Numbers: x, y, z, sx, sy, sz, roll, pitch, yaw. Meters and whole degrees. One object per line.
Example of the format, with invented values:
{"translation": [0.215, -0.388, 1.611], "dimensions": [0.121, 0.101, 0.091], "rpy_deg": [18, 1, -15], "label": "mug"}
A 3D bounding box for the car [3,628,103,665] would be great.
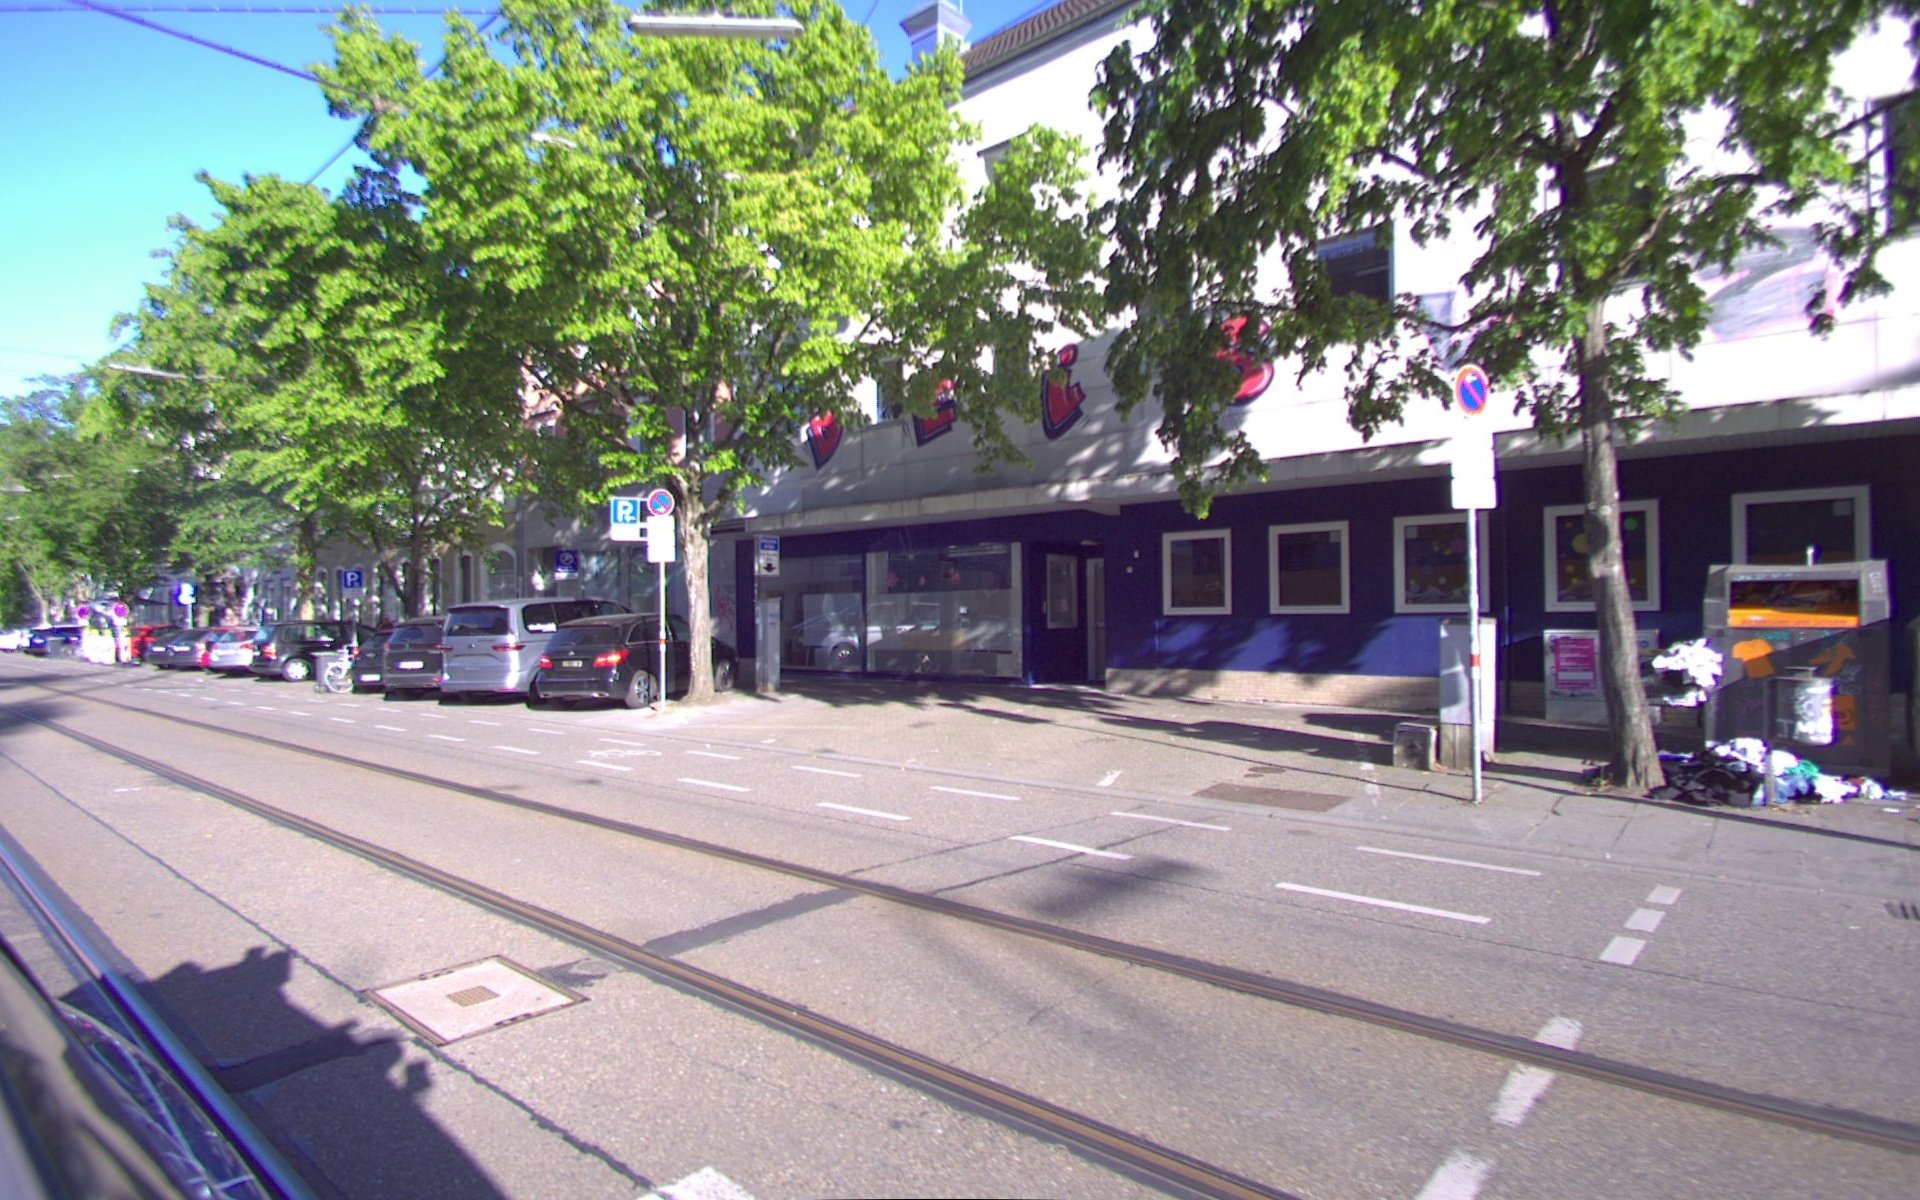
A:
{"translation": [-56.797, 2.868, 63.422], "dimensions": [2.161, 2.134, 4.393], "rpy_deg": [-2, -1, 38], "label": "car"}

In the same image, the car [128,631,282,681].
{"translation": [-27.031, 1.956, 36.418], "dimensions": [1.925, 1.502, 4.184], "rpy_deg": [-2, 0, 14], "label": "car"}

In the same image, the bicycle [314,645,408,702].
{"translation": [-13.852, 1.685, 23.476], "dimensions": [0.489, 1.153, 1.957], "rpy_deg": [-1, 0, 23], "label": "bicycle"}

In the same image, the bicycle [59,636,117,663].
{"translation": [-41.551, 2.336, 48.225], "dimensions": [0.567, 1.095, 1.981], "rpy_deg": [-2, 2, 43], "label": "bicycle"}

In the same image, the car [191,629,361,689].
{"translation": [-20.715, 1.744, 30.867], "dimensions": [1.823, 1.524, 4.098], "rpy_deg": [-2, 0, 14], "label": "car"}

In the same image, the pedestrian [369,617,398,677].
{"translation": [-19.924, 1.608, 34.976], "dimensions": [0.556, 2.029, 0.723], "rpy_deg": [-2, -2, 42], "label": "pedestrian"}

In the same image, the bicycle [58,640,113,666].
{"translation": [-42.483, 2.551, 49.166], "dimensions": [0.568, 1.087, 1.946], "rpy_deg": [-2, 1, 43], "label": "bicycle"}

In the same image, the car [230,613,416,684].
{"translation": [-18.037, 1.309, 28.792], "dimensions": [1.839, 1.690, 4.065], "rpy_deg": [-2, 1, 38], "label": "car"}

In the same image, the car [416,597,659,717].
{"translation": [-8.000, 0.989, 19.660], "dimensions": [1.934, 2.001, 4.341], "rpy_deg": [-2, 0, 19], "label": "car"}

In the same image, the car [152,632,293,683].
{"translation": [-25.145, 1.923, 34.644], "dimensions": [1.735, 1.481, 3.670], "rpy_deg": [-1, 0, 12], "label": "car"}

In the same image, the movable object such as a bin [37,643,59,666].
{"translation": [-44.797, 2.668, 49.720], "dimensions": [0.710, 1.086, 0.676], "rpy_deg": [-2, 1, 42], "label": "movable object such as a bin"}

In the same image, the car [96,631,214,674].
{"translation": [-34.055, 2.207, 42.921], "dimensions": [1.653, 1.565, 3.608], "rpy_deg": [-3, 0, 15], "label": "car"}

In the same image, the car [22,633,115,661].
{"translation": [-51.816, 2.730, 58.870], "dimensions": [1.873, 1.541, 3.622], "rpy_deg": [-1, -2, 21], "label": "car"}

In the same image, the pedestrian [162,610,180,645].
{"translation": [-41.644, 1.453, 53.414], "dimensions": [0.624, 1.852, 0.636], "rpy_deg": [-2, -3, 42], "label": "pedestrian"}

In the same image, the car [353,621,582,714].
{"translation": [-9.951, 1.305, 20.841], "dimensions": [1.797, 1.698, 4.220], "rpy_deg": [-1, -2, 20], "label": "car"}

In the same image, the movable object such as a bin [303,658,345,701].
{"translation": [-14.573, 1.823, 23.203], "dimensions": [0.572, 0.920, 0.572], "rpy_deg": [-3, 0, 25], "label": "movable object such as a bin"}

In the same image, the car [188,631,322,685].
{"translation": [-22.788, 1.839, 32.865], "dimensions": [1.597, 1.504, 3.360], "rpy_deg": [-2, 0, 13], "label": "car"}

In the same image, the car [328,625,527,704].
{"translation": [-12.113, 1.423, 23.308], "dimensions": [1.829, 1.487, 3.845], "rpy_deg": [-1, 1, 19], "label": "car"}

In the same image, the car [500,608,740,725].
{"translation": [-5.836, 1.069, 17.970], "dimensions": [1.895, 1.679, 4.273], "rpy_deg": [-2, 1, 17], "label": "car"}

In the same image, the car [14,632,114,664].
{"translation": [-48.486, 2.571, 54.868], "dimensions": [1.559, 1.621, 3.883], "rpy_deg": [-1, -2, 15], "label": "car"}
